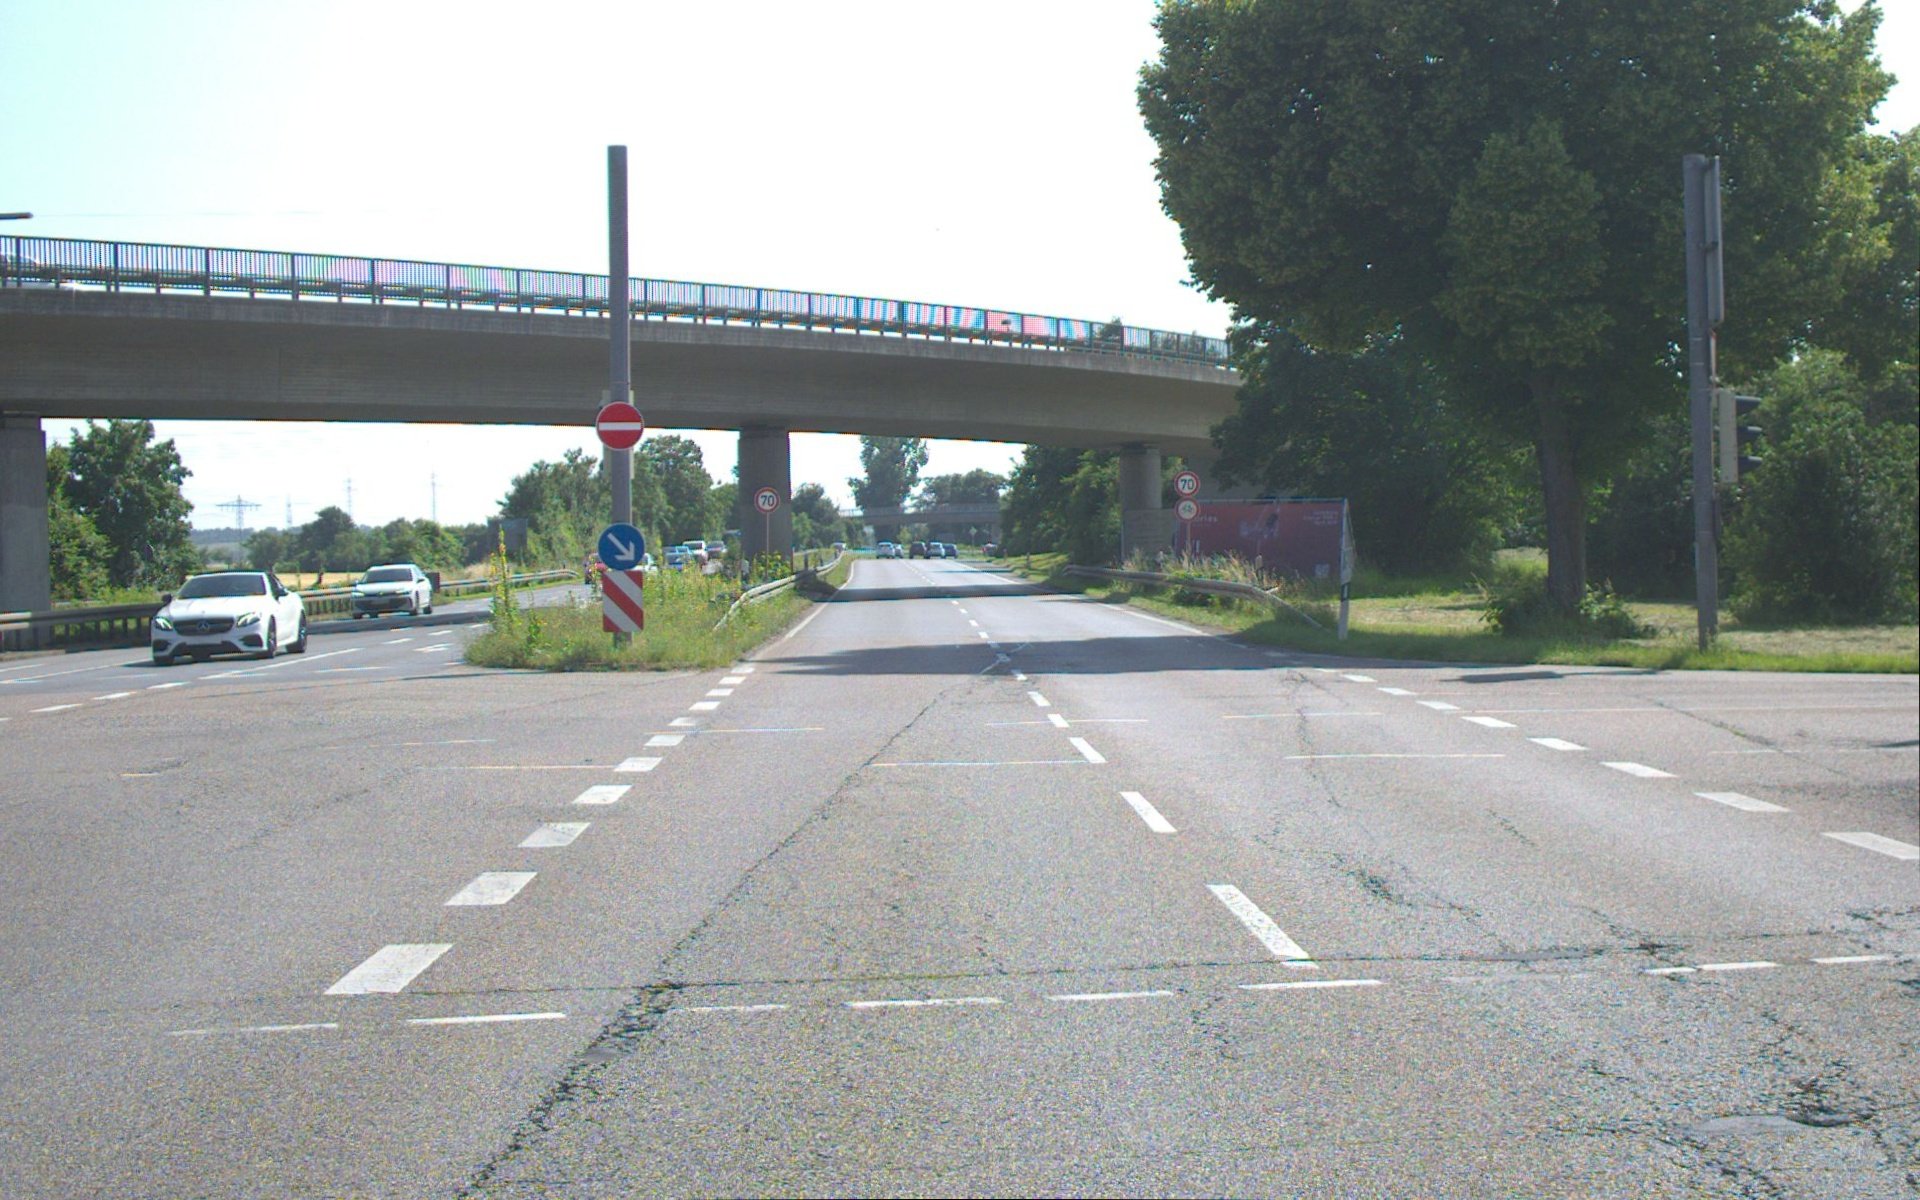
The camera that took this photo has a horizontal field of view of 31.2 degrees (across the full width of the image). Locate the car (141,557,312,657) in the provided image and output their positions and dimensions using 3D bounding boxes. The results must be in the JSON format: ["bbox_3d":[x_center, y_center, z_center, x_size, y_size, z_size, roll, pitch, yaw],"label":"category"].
[{"bbox_3d":[-11.773,0.082,55.429,1.856,1.443,4.241,-3,1,-1],"label":"car"}]

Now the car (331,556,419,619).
[{"bbox_3d":[-16.000,-0.368,94.187,1.790,1.622,4.000,-2,1,-2],"label":"car"}]

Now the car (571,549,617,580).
[{"bbox_3d":[-19.248,-1.885,180.863,1.993,1.553,4.000,-2,1,-1],"label":"car"}]

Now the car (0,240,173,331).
[{"bbox_3d":[-17.882,-6.310,69.276,1.741,1.464,3.743,1,0,33],"label":"car"}]

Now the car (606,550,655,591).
[{"bbox_3d":[-12.989,-1.181,135.603,1.557,1.535,4.000,-2,1,-1],"label":"car"}]
